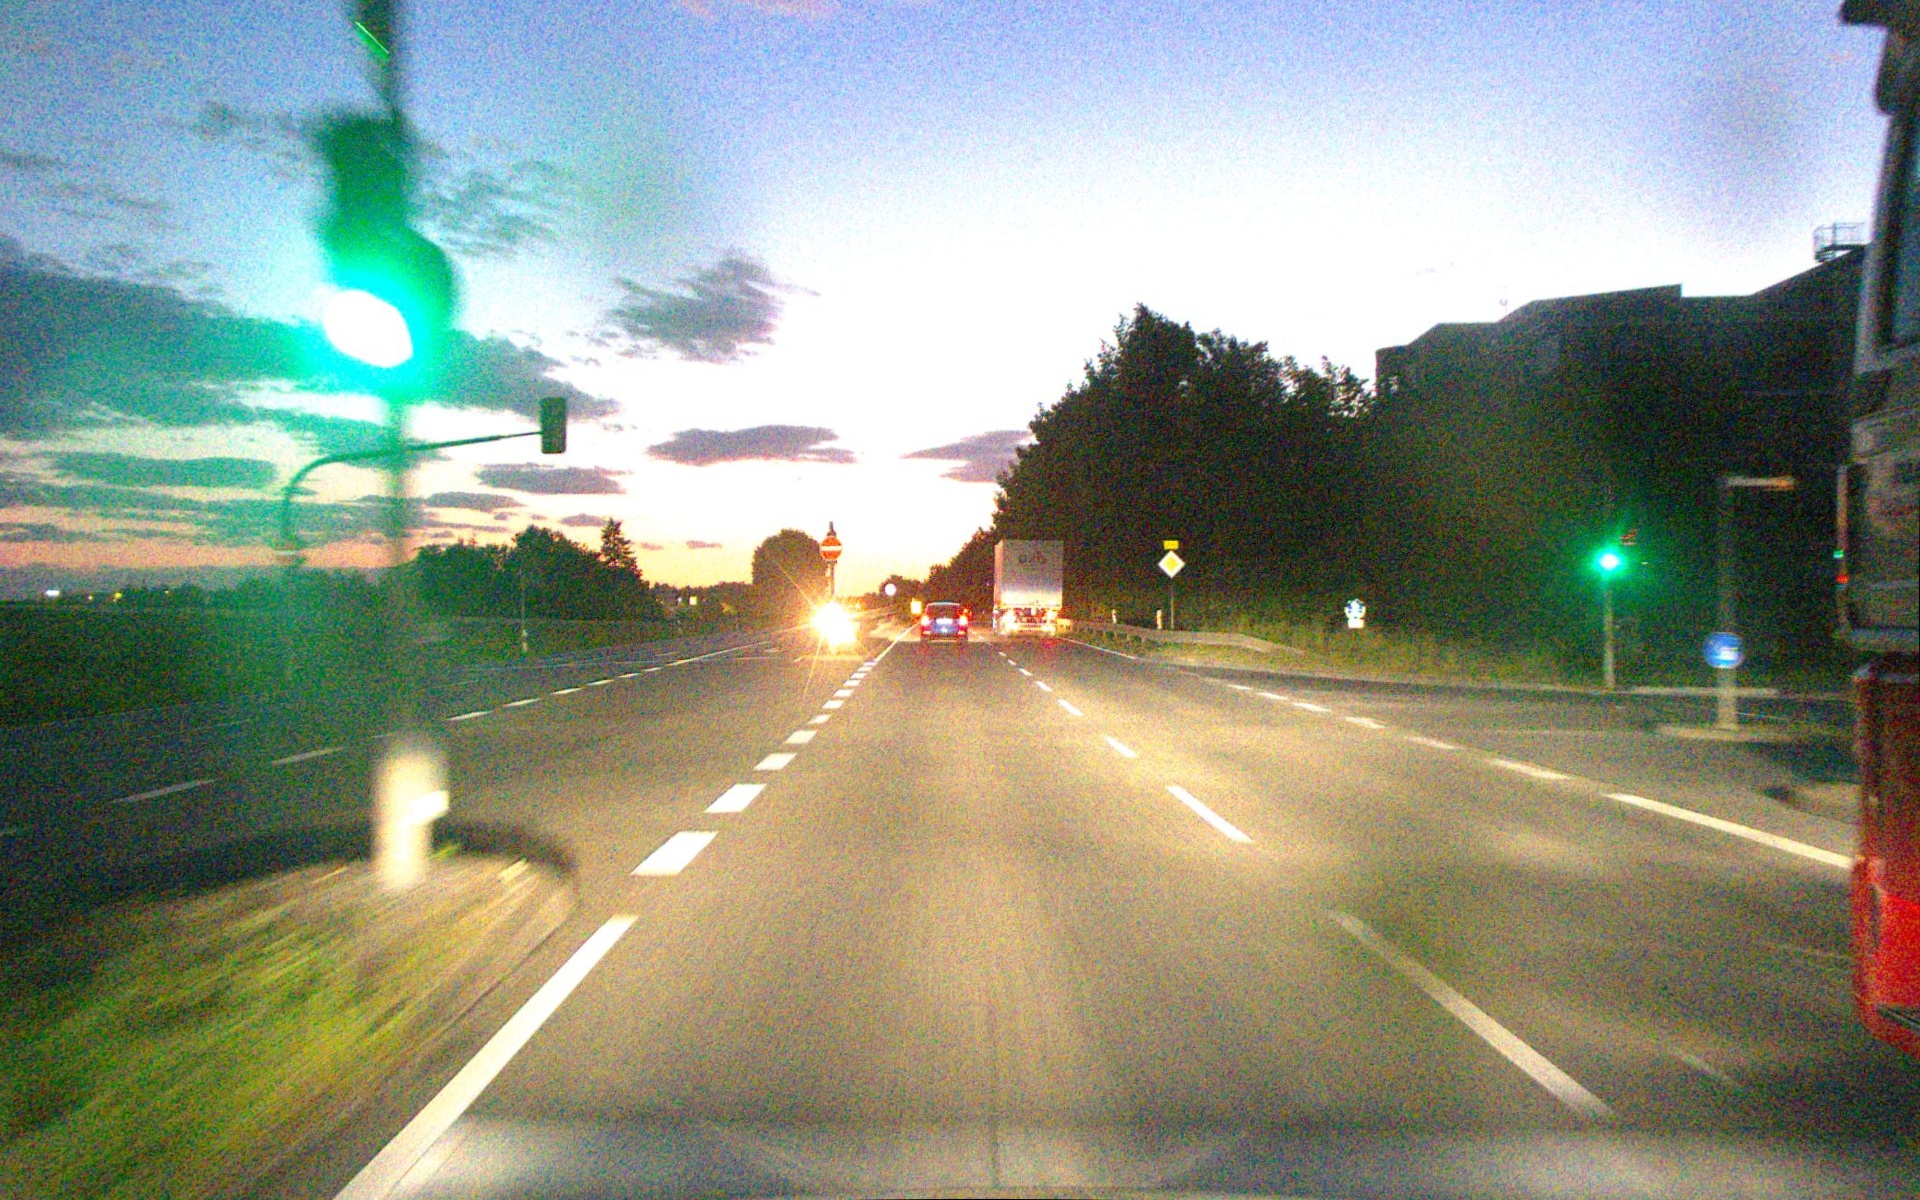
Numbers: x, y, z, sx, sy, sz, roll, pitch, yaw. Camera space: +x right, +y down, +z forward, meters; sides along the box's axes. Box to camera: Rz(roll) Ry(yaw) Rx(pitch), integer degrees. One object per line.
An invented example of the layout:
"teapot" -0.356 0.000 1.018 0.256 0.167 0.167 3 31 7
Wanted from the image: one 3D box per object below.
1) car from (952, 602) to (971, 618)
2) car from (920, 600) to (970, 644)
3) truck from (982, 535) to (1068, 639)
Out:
"car" 0.096 0.965 159.285 1.661 1.478 3.912 1 0 -2
"car" -0.560 0.751 58.364 1.661 1.478 3.912 1 0 -2
"truck" 2.721 -0.522 73.550 2.825 4.178 12.677 1 0 -2
